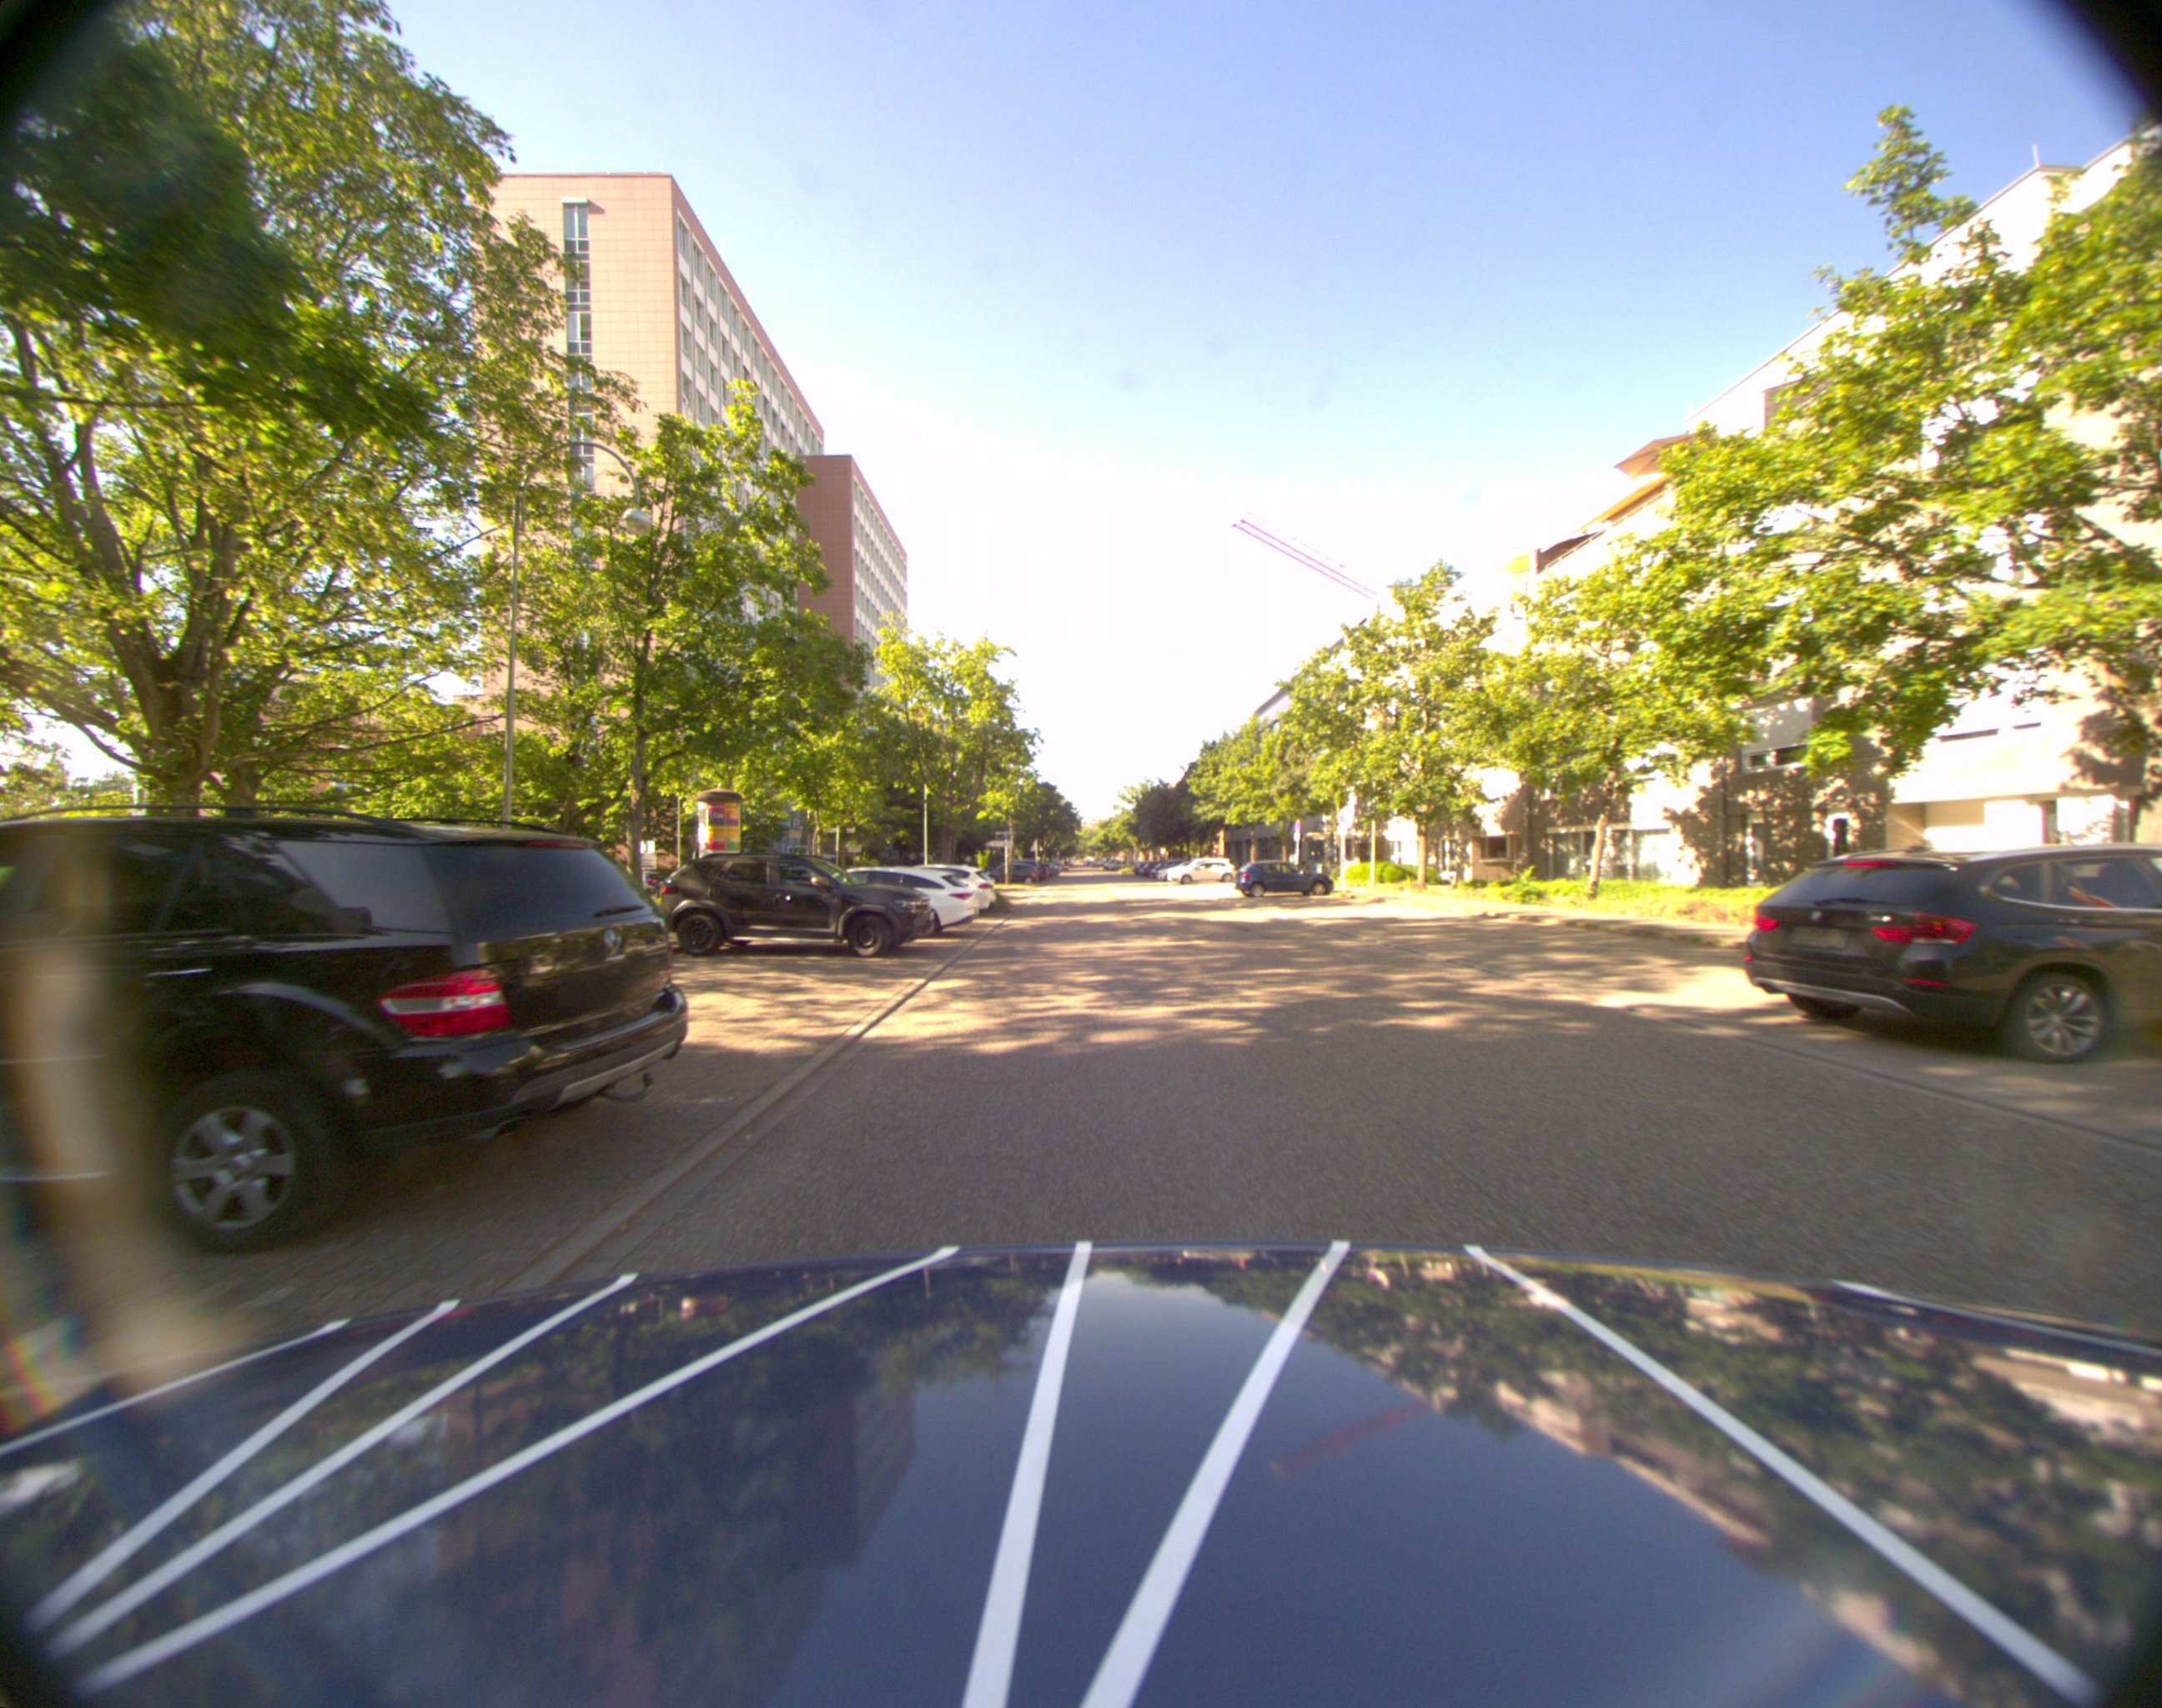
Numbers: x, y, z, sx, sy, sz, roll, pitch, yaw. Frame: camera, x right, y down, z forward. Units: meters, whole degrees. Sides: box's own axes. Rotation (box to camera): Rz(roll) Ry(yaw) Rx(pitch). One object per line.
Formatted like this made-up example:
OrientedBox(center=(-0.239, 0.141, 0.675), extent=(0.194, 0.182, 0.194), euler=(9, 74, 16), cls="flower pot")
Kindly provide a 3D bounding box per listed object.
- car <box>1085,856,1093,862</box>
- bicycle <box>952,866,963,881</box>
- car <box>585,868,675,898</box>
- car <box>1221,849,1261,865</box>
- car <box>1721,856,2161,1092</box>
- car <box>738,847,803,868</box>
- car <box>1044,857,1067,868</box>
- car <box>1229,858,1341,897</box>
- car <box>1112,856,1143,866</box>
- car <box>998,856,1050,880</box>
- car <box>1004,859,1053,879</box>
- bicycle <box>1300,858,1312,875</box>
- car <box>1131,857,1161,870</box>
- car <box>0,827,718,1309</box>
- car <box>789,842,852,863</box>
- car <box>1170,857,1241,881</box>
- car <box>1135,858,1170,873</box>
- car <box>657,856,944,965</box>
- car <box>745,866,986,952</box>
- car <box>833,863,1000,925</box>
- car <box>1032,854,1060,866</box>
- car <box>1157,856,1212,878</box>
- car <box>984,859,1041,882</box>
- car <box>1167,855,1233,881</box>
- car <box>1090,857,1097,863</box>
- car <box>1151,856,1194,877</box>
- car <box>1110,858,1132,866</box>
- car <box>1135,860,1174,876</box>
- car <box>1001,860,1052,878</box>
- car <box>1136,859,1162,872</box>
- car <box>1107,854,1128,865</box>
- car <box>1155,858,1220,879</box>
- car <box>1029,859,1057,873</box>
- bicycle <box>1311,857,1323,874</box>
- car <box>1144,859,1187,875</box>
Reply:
OrientedBox(center=(2.218, 1.475, 211.289), extent=(1.951, 1.617, 4.001), euler=(0, 0, 3), cls="car")
OrientedBox(center=(-8.769, 1.358, 54.107), extent=(0.302, 0.987, 1.957), euler=(-1, 0, 4), cls="bicycle")
OrientedBox(center=(-24.311, 1.563, 41.045), extent=(3.854, 1.460, 1.650), euler=(-1, 0, -1), cls="car")
OrientedBox(center=(23.109, 0.438, 110.032), extent=(5.329, 2.086, 1.932), euler=(-1, 0, -2), cls="car")
OrientedBox(center=(7.968, 0.820, 6.061), extent=(4.203, 1.511, 1.772), euler=(-1, 0, 1), cls="car")
OrientedBox(center=(-23.461, 0.285, 57.492), extent=(4.237, 1.498, 1.723), euler=(-1, 0, -6), cls="car")
OrientedBox(center=(-4.514, 1.514, 136.488), extent=(3.998, 1.773, 1.952), euler=(-2, 0, -4), cls="car")
OrientedBox(center=(8.240, 0.935, 30.894), extent=(3.998, 1.403, 1.816), euler=(-1, 0, -4), cls="car")
OrientedBox(center=(8.076, 1.218, 131.599), extent=(5.252, 1.615, 1.953), euler=(-1, 0, 1), cls="car")
OrientedBox(center=(-4.181, 1.033, 55.981), extent=(3.681, 1.741, 1.724), euler=(1, 0, 2), cls="car")
OrientedBox(center=(-4.252, 1.228, 61.090), extent=(3.882, 1.556, 1.808), euler=(1, 0, -5), cls="car")
OrientedBox(center=(16.014, 0.881, 54.023), extent=(0.338, 1.168, 1.627), euler=(-1, 0, 0), cls="bicycle")
OrientedBox(center=(8.370, 1.241, 97.314), extent=(3.630, 1.499, 1.617), euler=(-1, 0, -2), cls="car")
OrientedBox(center=(-4.613, 0.773, 3.816), extent=(4.598, 1.768, 2.000), euler=(1, 0, 0), cls="car")
OrientedBox(center=(-22.086, -0.104, 64.637), extent=(4.730, 1.676, 1.875), euler=(-1, 0, -4), cls="car")
OrientedBox(center=(8.091, 0.962, 49.624), extent=(4.269, 1.471, 1.800), euler=(-1, 0, -1), cls="car")
OrientedBox(center=(7.788, 1.273, 82.741), extent=(3.539, 1.497, 1.646), euler=(-1, 0, -1), cls="car")
OrientedBox(center=(-4.497, 0.889, 12.662), extent=(4.129, 1.609, 1.733), euler=(1, 1, -2), cls="car")
OrientedBox(center=(-4.324, 1.093, 15.801), extent=(4.454, 1.536, 1.817), euler=(-1, 0, -1), cls="car")
OrientedBox(center=(-4.655, 1.128, 22.012), extent=(4.439, 1.583, 1.836), euler=(1, 0, -3), cls="car")
OrientedBox(center=(-5.447, 0.919, 118.229), extent=(4.165, 1.696, 1.999), euler=(-1, 0, -2), cls="car")
OrientedBox(center=(8.196, 1.002, 60.660), extent=(4.122, 1.611, 1.803), euler=(-2, 0, 1), cls="car")
OrientedBox(center=(-4.794, 1.198, 53.532), extent=(3.845, 1.438, 1.592), euler=(2, -2, -3), cls="car")
OrientedBox(center=(8.245, 0.936, 52.833), extent=(4.236, 1.593, 1.952), euler=(-2, 1, 0), cls="car")
OrientedBox(center=(3.186, 1.537, 197.267), extent=(1.766, 1.365, 4.001), euler=(0, 0, 3), cls="car")
OrientedBox(center=(7.849, 1.056, 65.374), extent=(3.581, 1.658, 1.655), euler=(-2, 0, 2), cls="car")
OrientedBox(center=(7.582, 1.547, 143.709), extent=(3.968, 1.463, 1.953), euler=(-1, 0, 1), cls="car")
OrientedBox(center=(7.186, 1.358, 74.615), extent=(3.539, 1.428, 1.657), euler=(-1, 0, -1), cls="car")
OrientedBox(center=(-4.839, 1.346, 68.183), extent=(4.432, 1.544, 1.859), euler=(0, 0, -1), cls="car")
OrientedBox(center=(7.794, 1.269, 87.328), extent=(2.933, 1.435, 1.389), euler=(-1, 0, 0), cls="car")
OrientedBox(center=(7.306, 1.083, 150.982), extent=(3.998, 2.094, 1.999), euler=(-1, 0, -2), cls="car")
OrientedBox(center=(8.064, 1.094, 57.850), extent=(4.521, 1.443, 1.940), euler=(-2, 0, -4), cls="car")
OrientedBox(center=(-4.364, 1.351, 88.159), extent=(3.053, 1.595, 1.604), euler=(1, 0, 2), cls="car")
OrientedBox(center=(16.834, 0.818, 54.250), extent=(0.338, 1.168, 1.627), euler=(-1, 0, 0), cls="bicycle")
OrientedBox(center=(8.038, 1.234, 72.457), extent=(3.832, 1.405, 1.688), euler=(-2, -1, -1), cls="car")
